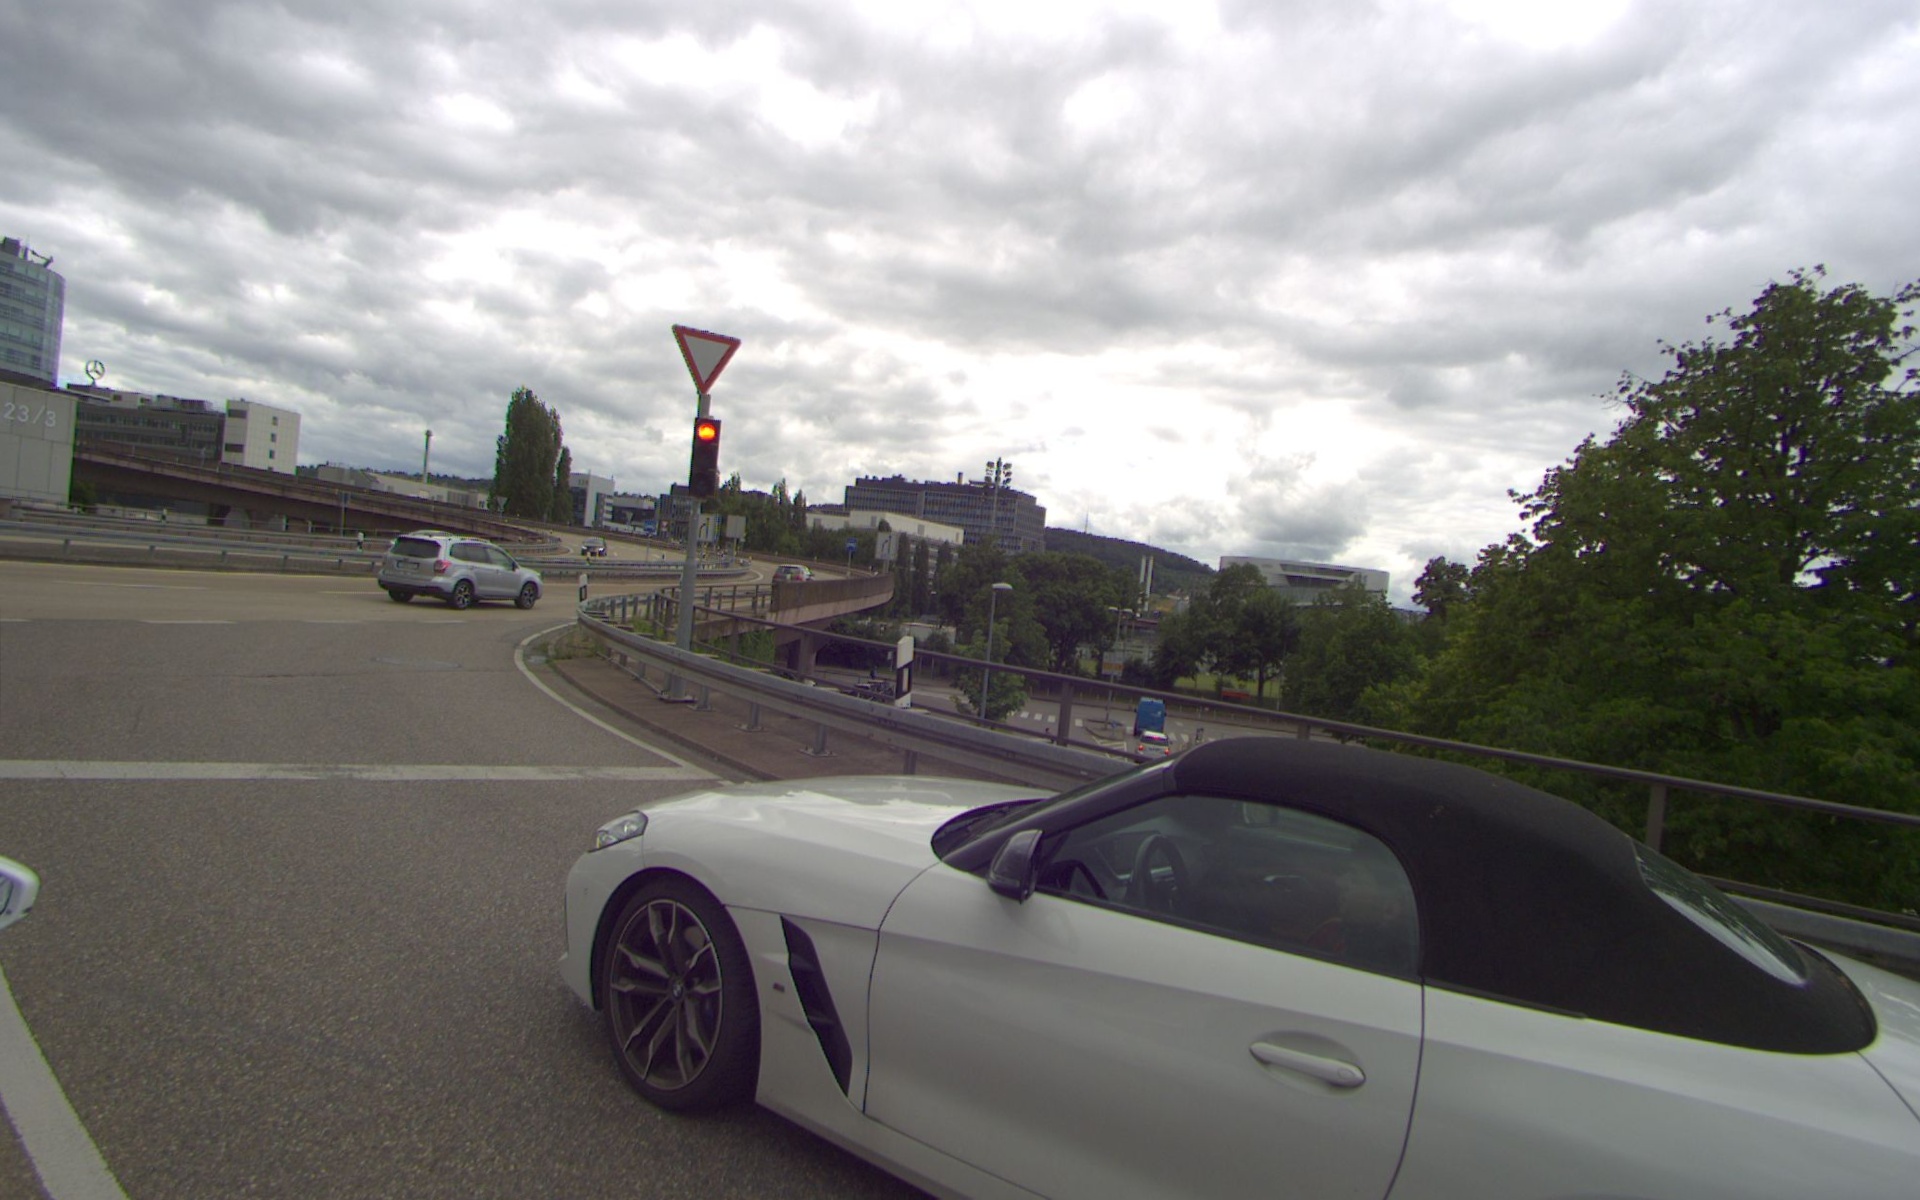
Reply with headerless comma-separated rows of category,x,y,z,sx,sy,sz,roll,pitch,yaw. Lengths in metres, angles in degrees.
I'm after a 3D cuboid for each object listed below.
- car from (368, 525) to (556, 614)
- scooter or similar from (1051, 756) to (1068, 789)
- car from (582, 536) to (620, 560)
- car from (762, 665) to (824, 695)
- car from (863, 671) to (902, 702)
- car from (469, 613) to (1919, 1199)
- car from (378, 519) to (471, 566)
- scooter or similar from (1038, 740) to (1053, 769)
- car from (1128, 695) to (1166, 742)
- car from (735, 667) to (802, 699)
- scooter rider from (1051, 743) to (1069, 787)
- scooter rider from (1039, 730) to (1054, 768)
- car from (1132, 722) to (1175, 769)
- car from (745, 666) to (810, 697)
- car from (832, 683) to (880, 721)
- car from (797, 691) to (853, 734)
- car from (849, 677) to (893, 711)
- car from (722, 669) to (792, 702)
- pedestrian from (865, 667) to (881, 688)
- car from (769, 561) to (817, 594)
car,-12.253,-0.676,25.161,1.697,1.758,4.558,7,0,10
scooter or similar,4.248,7.363,43.073,0.481,1.199,1.073,8,1,10
car,-29.216,-4.210,81.991,1.882,1.438,3.988,9,0,-6
car,-11.463,5.484,69.142,3.792,1.371,1.826,8,1,1
car,-5.269,5.857,68.643,1.792,1.553,4.000,8,0,6
car,0.628,0.995,3.021,4.194,1.306,1.808,7,-2,34
car,-29.708,-3.150,56.002,1.879,1.679,4.758,8,-4,10
scooter or similar,4.211,7.590,49.471,0.481,1.199,1.073,8,1,10
car,12.902,8.132,69.567,1.978,2.617,5.399,10,-2,9
car,-12.178,5.311,64.243,3.792,1.371,1.826,8,1,1
scooter rider,4.282,7.058,43.037,0.481,1.776,0.548,8,2,10
scooter rider,4.246,7.302,49.442,0.481,1.761,0.514,8,2,10
car,10.811,8.082,56.234,1.978,1.883,4.868,10,-2,12
car,-11.991,5.378,66.360,3.792,1.371,1.826,8,1,1
car,-5.936,5.795,57.679,1.792,1.553,4.000,8,0,6
car,-6.884,5.734,51.715,1.792,1.553,4.000,8,0,6
car,-5.530,5.831,62.991,1.792,1.553,4.195,8,0,6
car,-12.457,5.264,61.903,3.792,1.371,1.826,8,1,1
pedestrian,-6.598,5.879,76.287,0.898,1.514,0.750,8,-3,7
car,-8.810,-1.163,53.339,1.698,1.480,4.242,7,0,0
